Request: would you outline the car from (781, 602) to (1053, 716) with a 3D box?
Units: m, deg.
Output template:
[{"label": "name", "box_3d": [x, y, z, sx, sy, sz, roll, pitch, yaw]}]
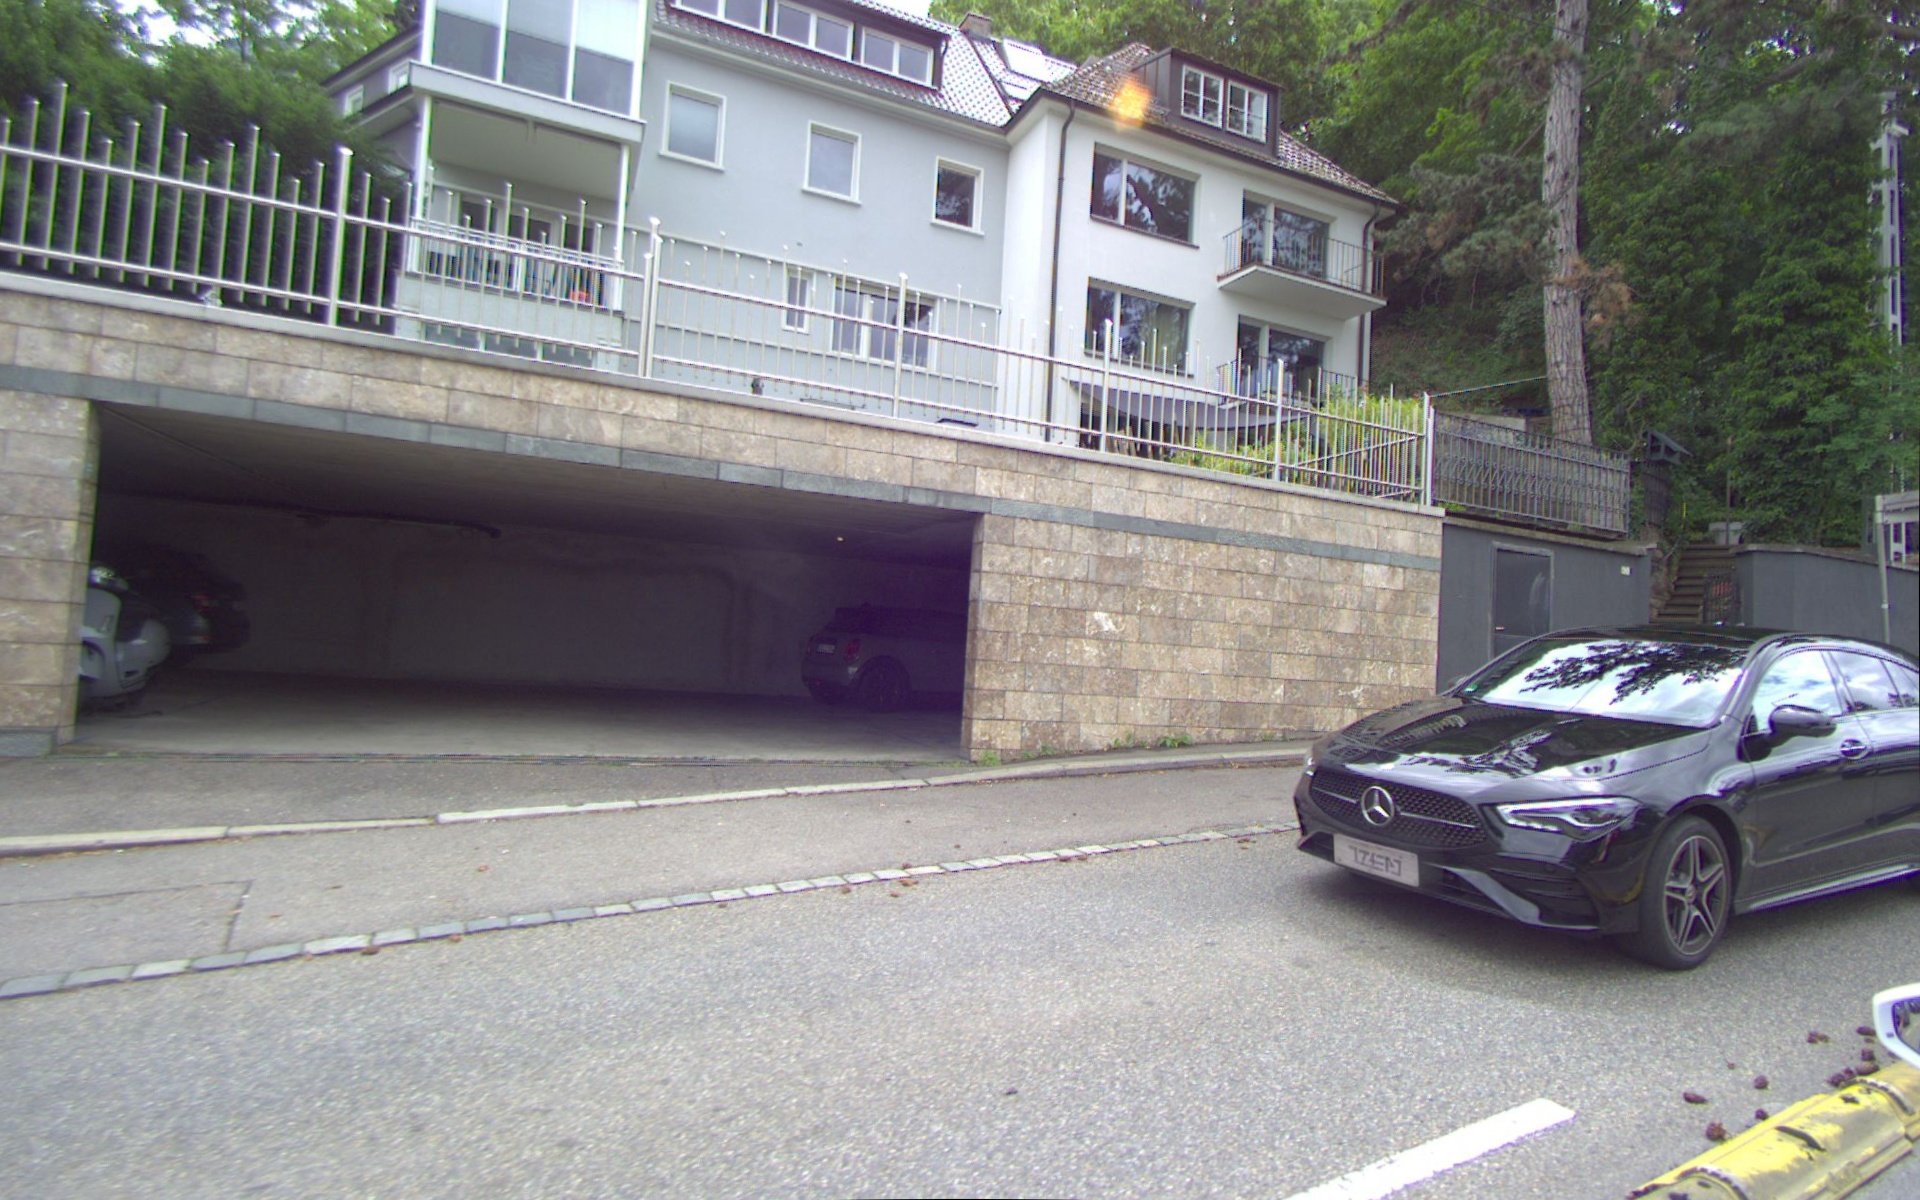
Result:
[{"label": "car", "box_3d": [-0.589, 0.857, 14.574, 3.509, 1.437, 1.760, 4, -1, -34]}]

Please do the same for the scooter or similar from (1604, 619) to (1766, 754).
[{"label": "scooter or similar", "box_3d": [7.409, 0.846, 10.289, 1.293, 1.272, 0.465, 1, 0, 41]}]

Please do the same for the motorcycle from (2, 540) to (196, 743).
[{"label": "motorcycle", "box_3d": [-6.314, 0.282, 7.464, 0.697, 1.339, 1.594, 4, -1, -28]}]

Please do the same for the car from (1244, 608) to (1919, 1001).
[{"label": "car", "box_3d": [3.837, 0.838, 5.569, 4.251, 1.454, 1.761, 1, 1, -26]}]

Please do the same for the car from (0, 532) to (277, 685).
[{"label": "car", "box_3d": [-9.986, 0.076, 11.297, 3.500, 1.529, 1.764, 4, -1, -27]}]
